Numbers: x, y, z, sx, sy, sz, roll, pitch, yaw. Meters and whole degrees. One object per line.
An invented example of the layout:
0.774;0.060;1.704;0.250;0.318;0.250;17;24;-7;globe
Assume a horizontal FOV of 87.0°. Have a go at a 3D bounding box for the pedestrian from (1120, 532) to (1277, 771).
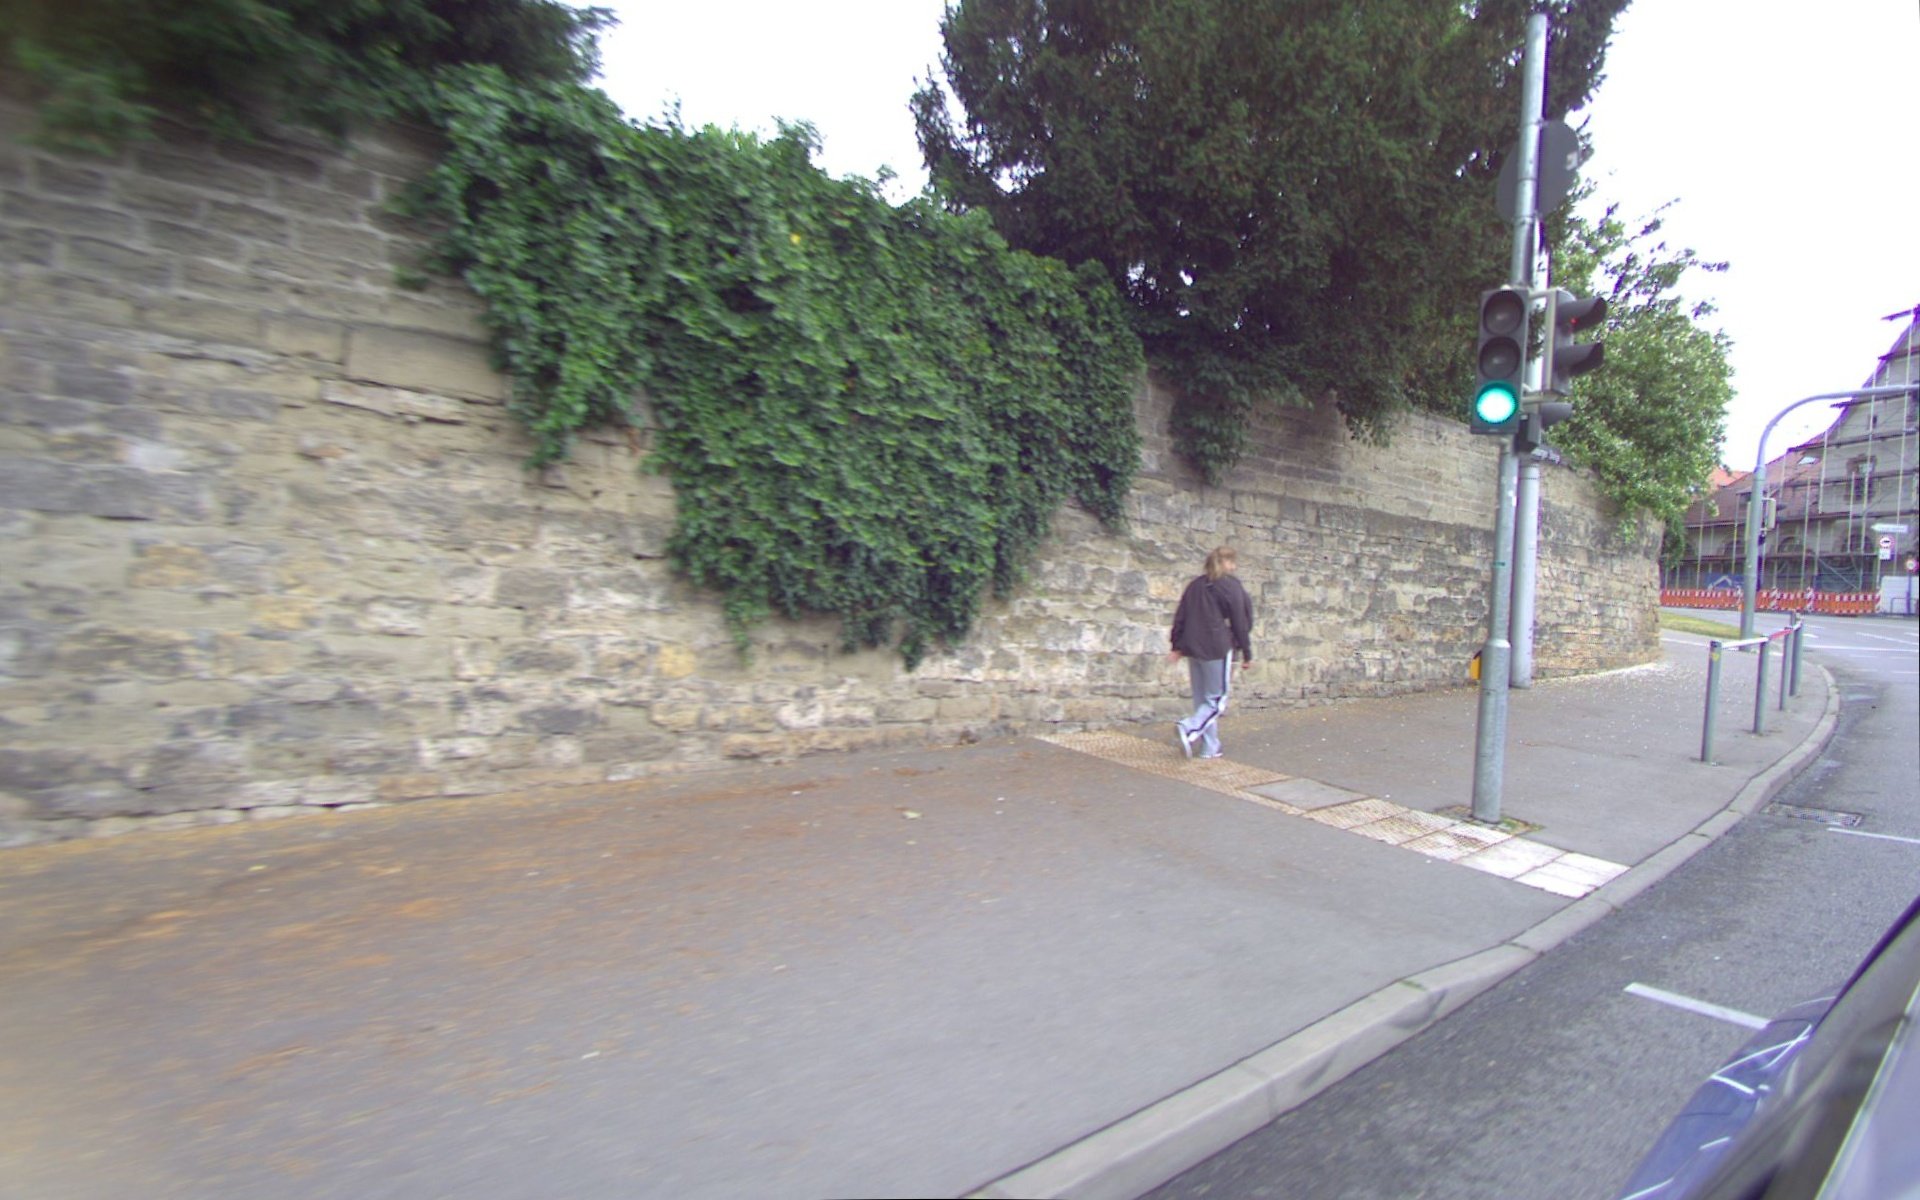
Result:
1.720;0.333;7.322;0.730;1.595;0.733;1;3;-41;pedestrian
